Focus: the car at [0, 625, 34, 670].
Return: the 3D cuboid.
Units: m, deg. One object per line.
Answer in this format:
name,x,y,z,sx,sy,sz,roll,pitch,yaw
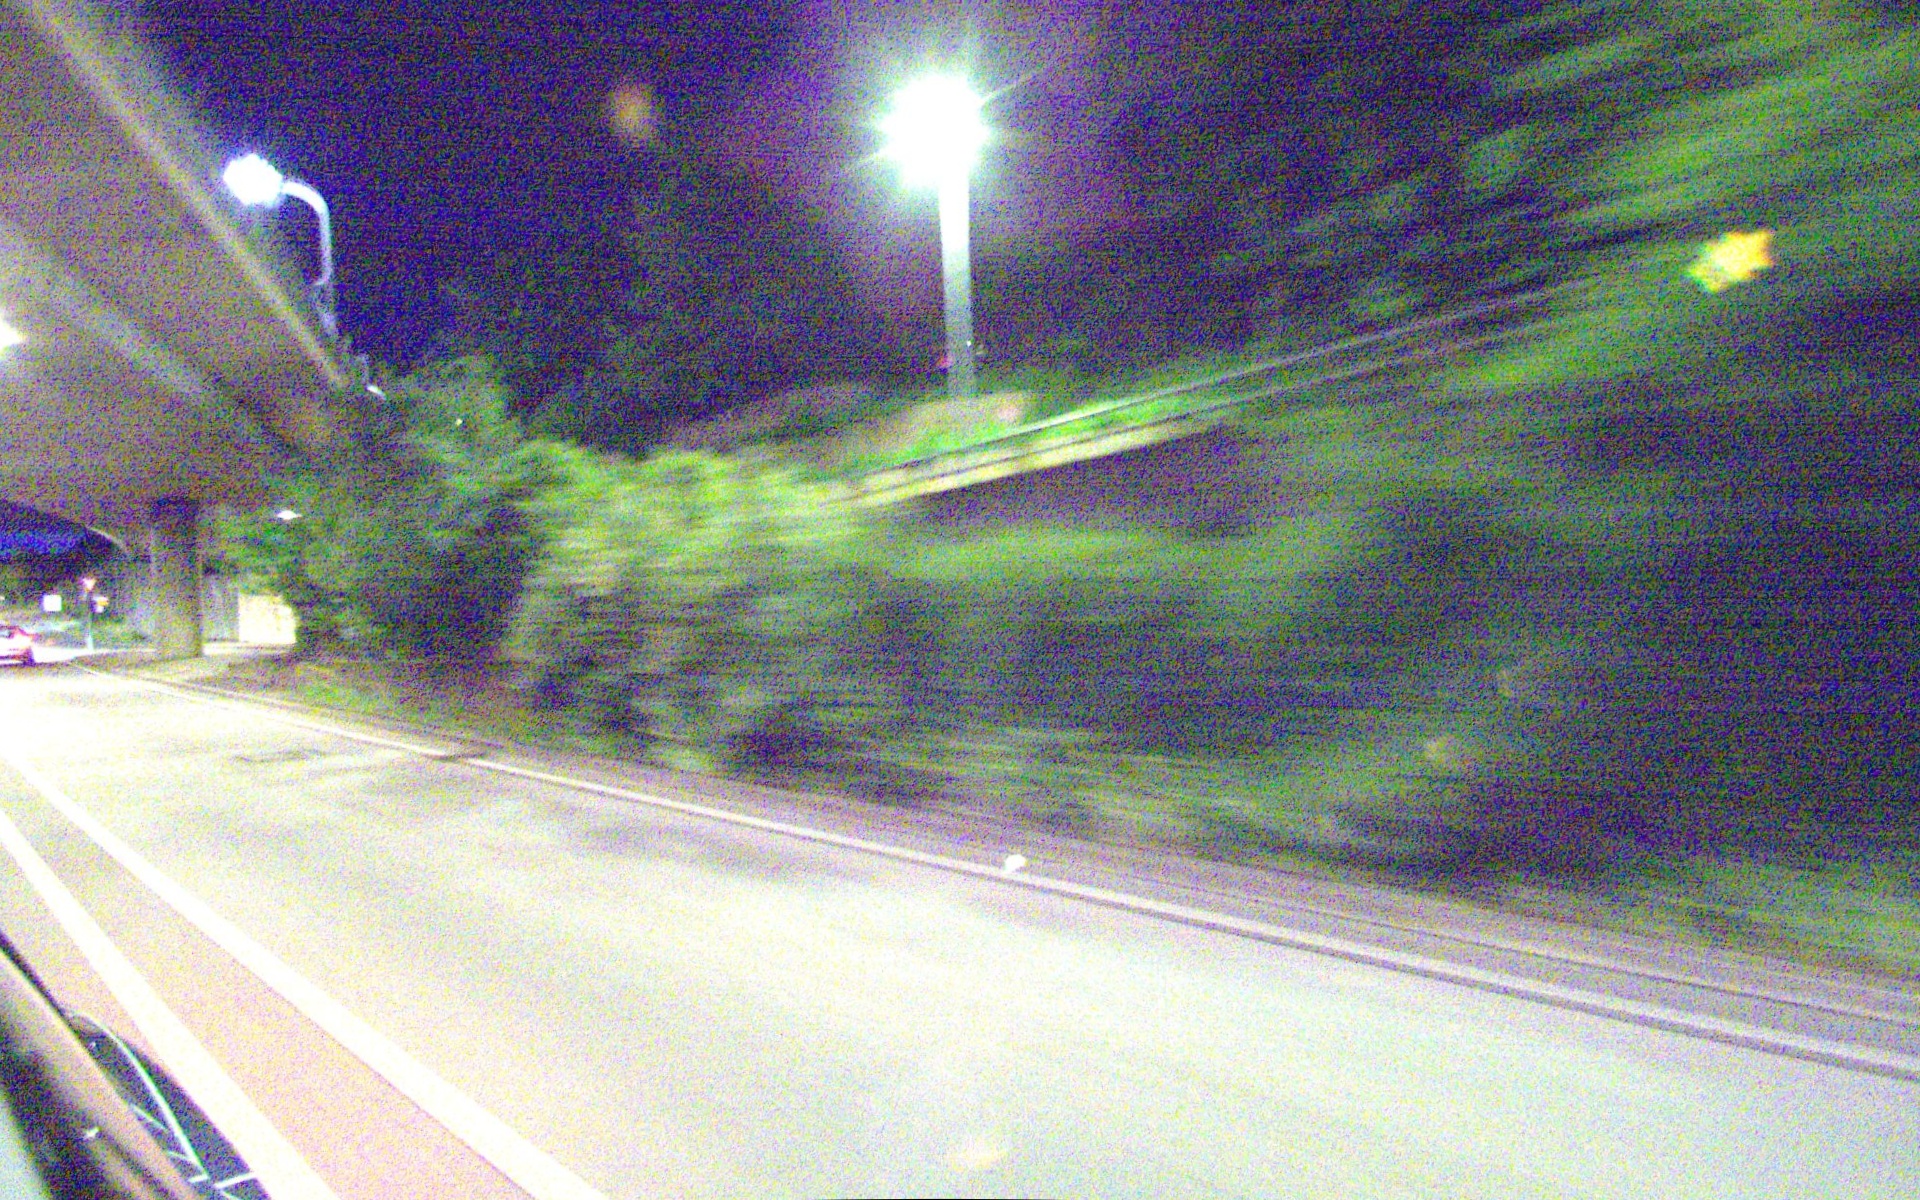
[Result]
car,-34.282,1.677,35.906,4.172,1.458,1.768,0,1,43
